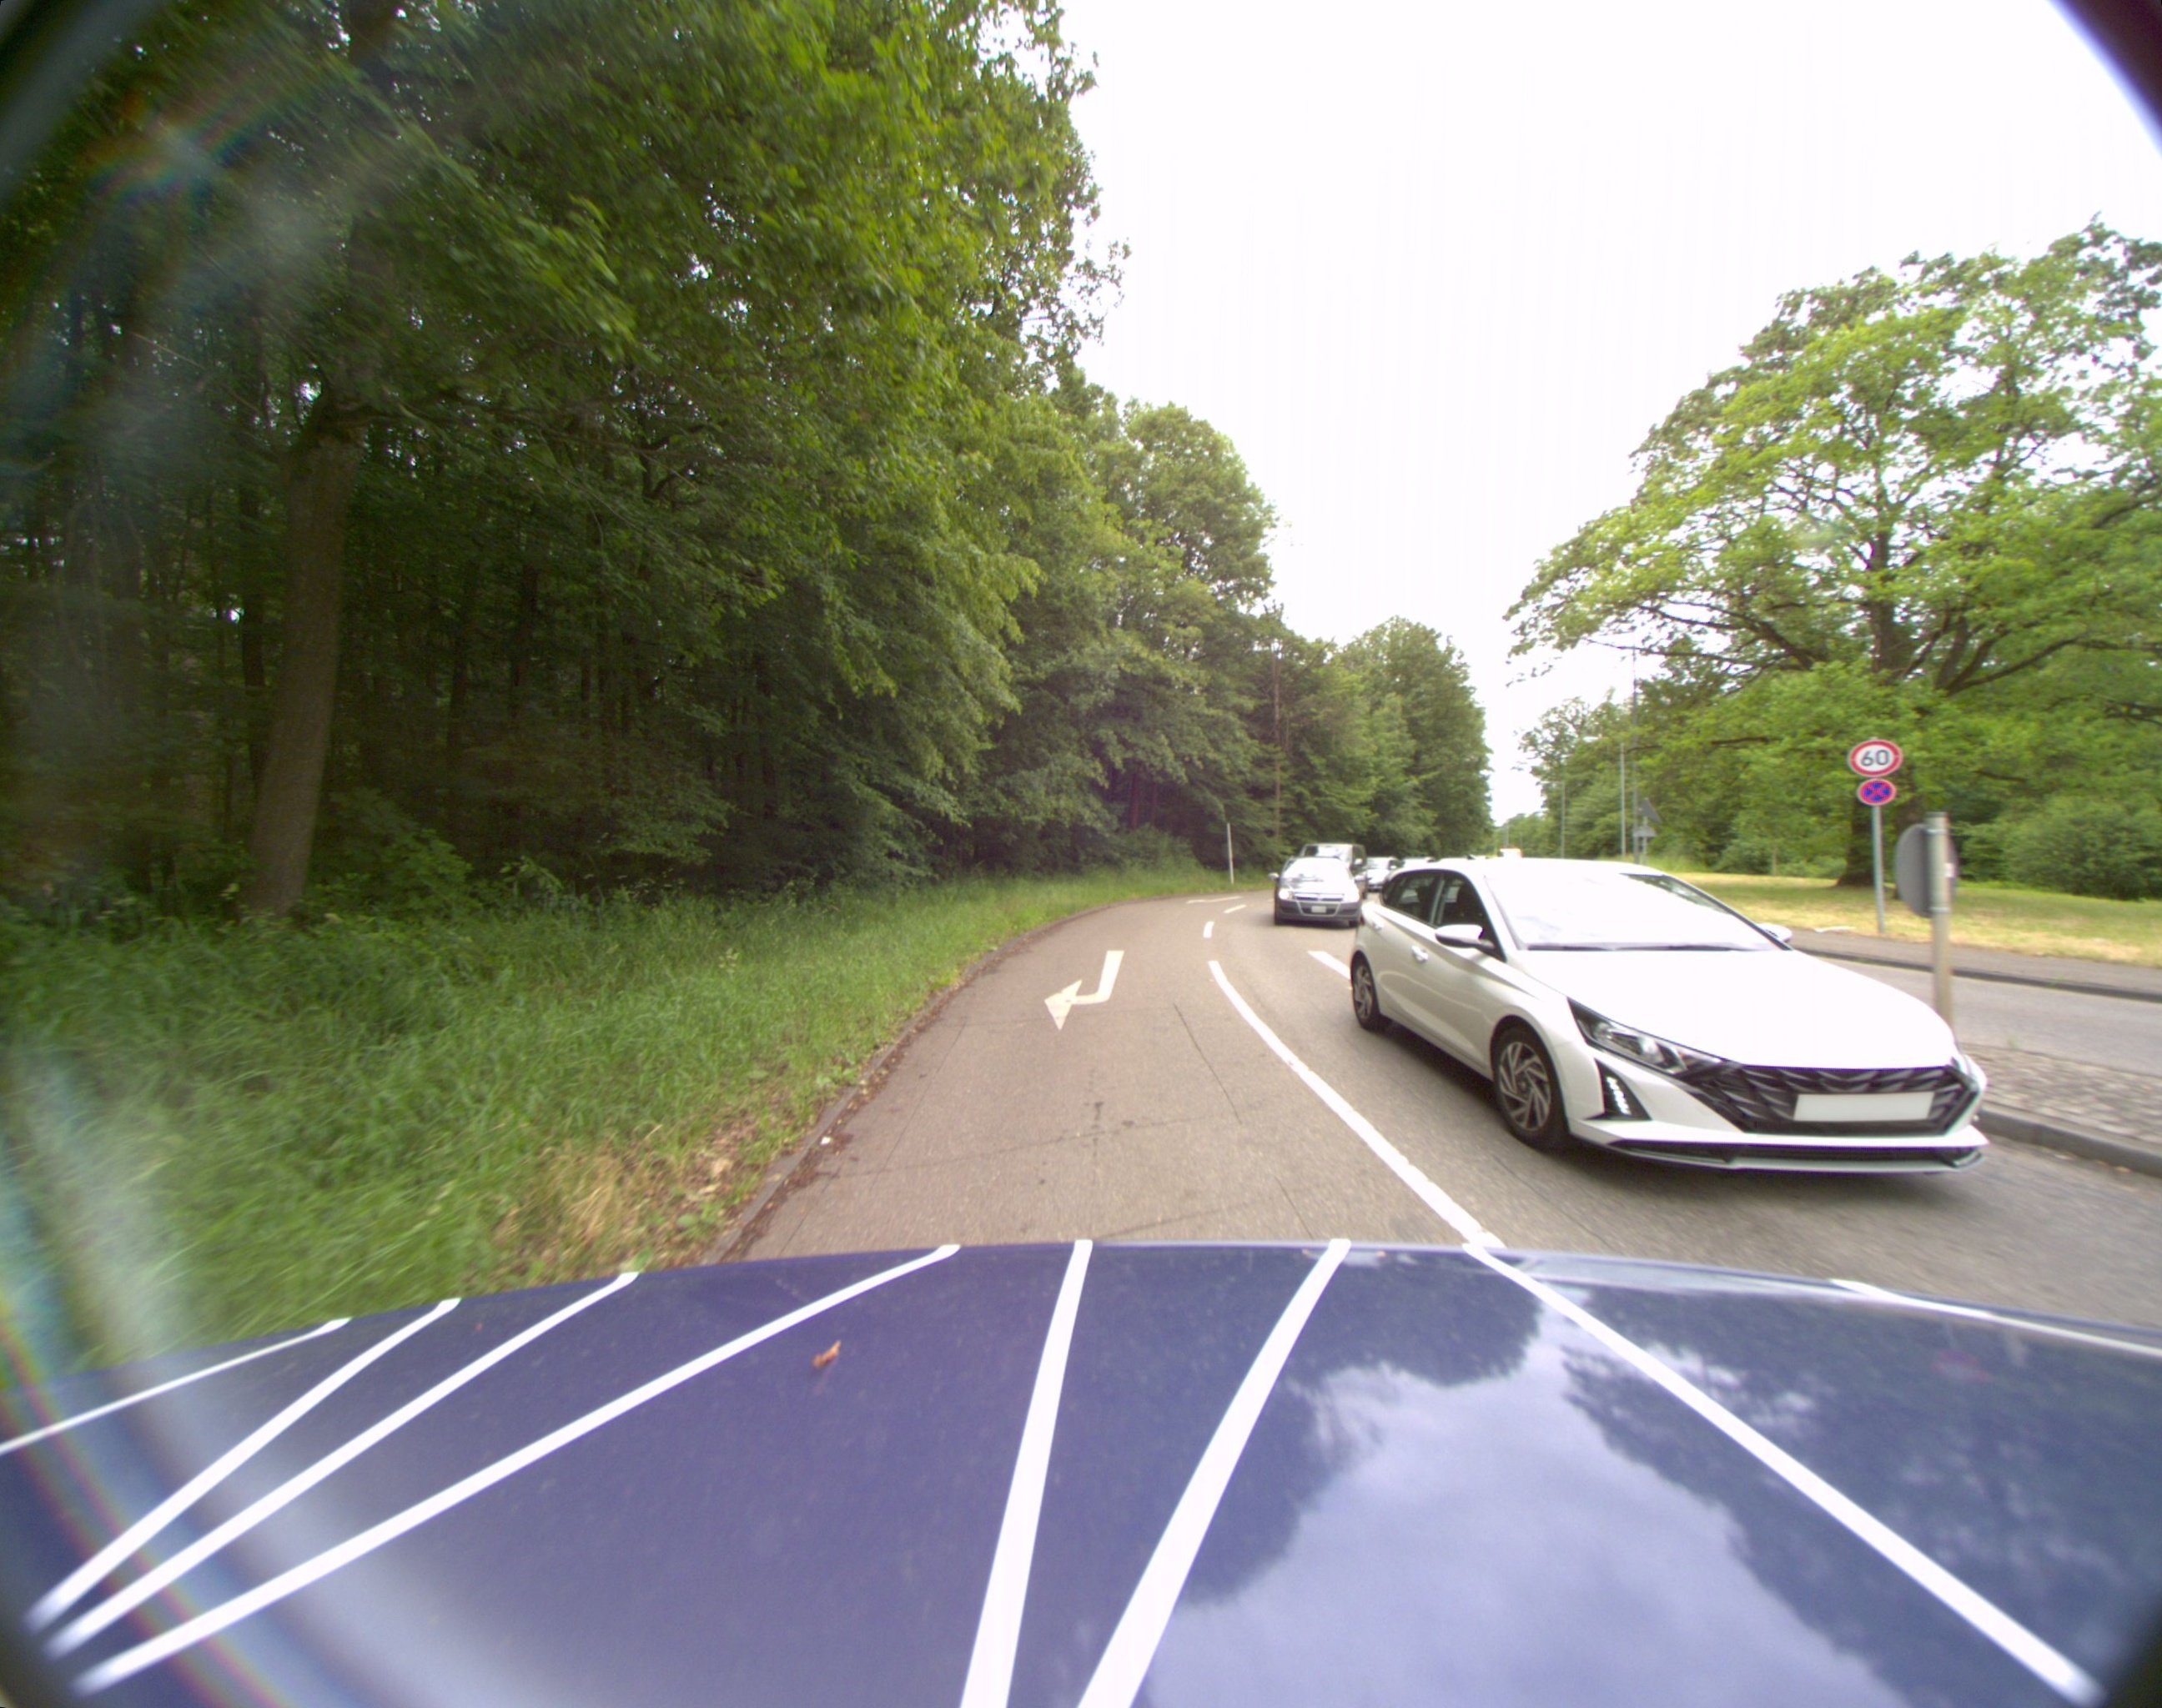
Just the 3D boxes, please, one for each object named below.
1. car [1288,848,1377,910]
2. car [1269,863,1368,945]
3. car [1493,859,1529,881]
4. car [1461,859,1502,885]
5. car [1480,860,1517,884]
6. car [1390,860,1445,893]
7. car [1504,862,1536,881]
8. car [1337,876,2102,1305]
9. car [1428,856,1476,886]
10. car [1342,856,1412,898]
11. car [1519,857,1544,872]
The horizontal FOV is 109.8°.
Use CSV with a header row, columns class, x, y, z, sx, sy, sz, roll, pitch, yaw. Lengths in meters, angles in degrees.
class,x,y,z,sx,sy,sz,roll,pitch,yaw
car,8.477,0.768,25.322,1.986,1.862,4.541,1,0,29
car,5.287,0.972,16.721,1.800,1.470,4.477,1,0,19
car,30.987,1.116,54.740,1.774,1.491,3.881,1,0,36
car,24.050,1.039,45.537,1.774,1.491,3.881,1,0,33
car,27.508,1.123,49.997,1.774,1.491,3.881,1,0,33
car,16.283,1.026,36.666,1.774,1.491,3.881,1,0,33
car,35.684,1.381,61.757,1.774,1.491,3.881,1,0,36
car,3.078,0.947,4.911,1.653,1.470,4.074,1,0,3
car,19.788,0.880,40.480,1.774,1.491,3.881,1,0,33
car,12.772,0.938,32.611,1.789,1.664,3.999,0,0,37
car,44.592,1.016,75.153,1.774,1.491,3.881,1,0,36
